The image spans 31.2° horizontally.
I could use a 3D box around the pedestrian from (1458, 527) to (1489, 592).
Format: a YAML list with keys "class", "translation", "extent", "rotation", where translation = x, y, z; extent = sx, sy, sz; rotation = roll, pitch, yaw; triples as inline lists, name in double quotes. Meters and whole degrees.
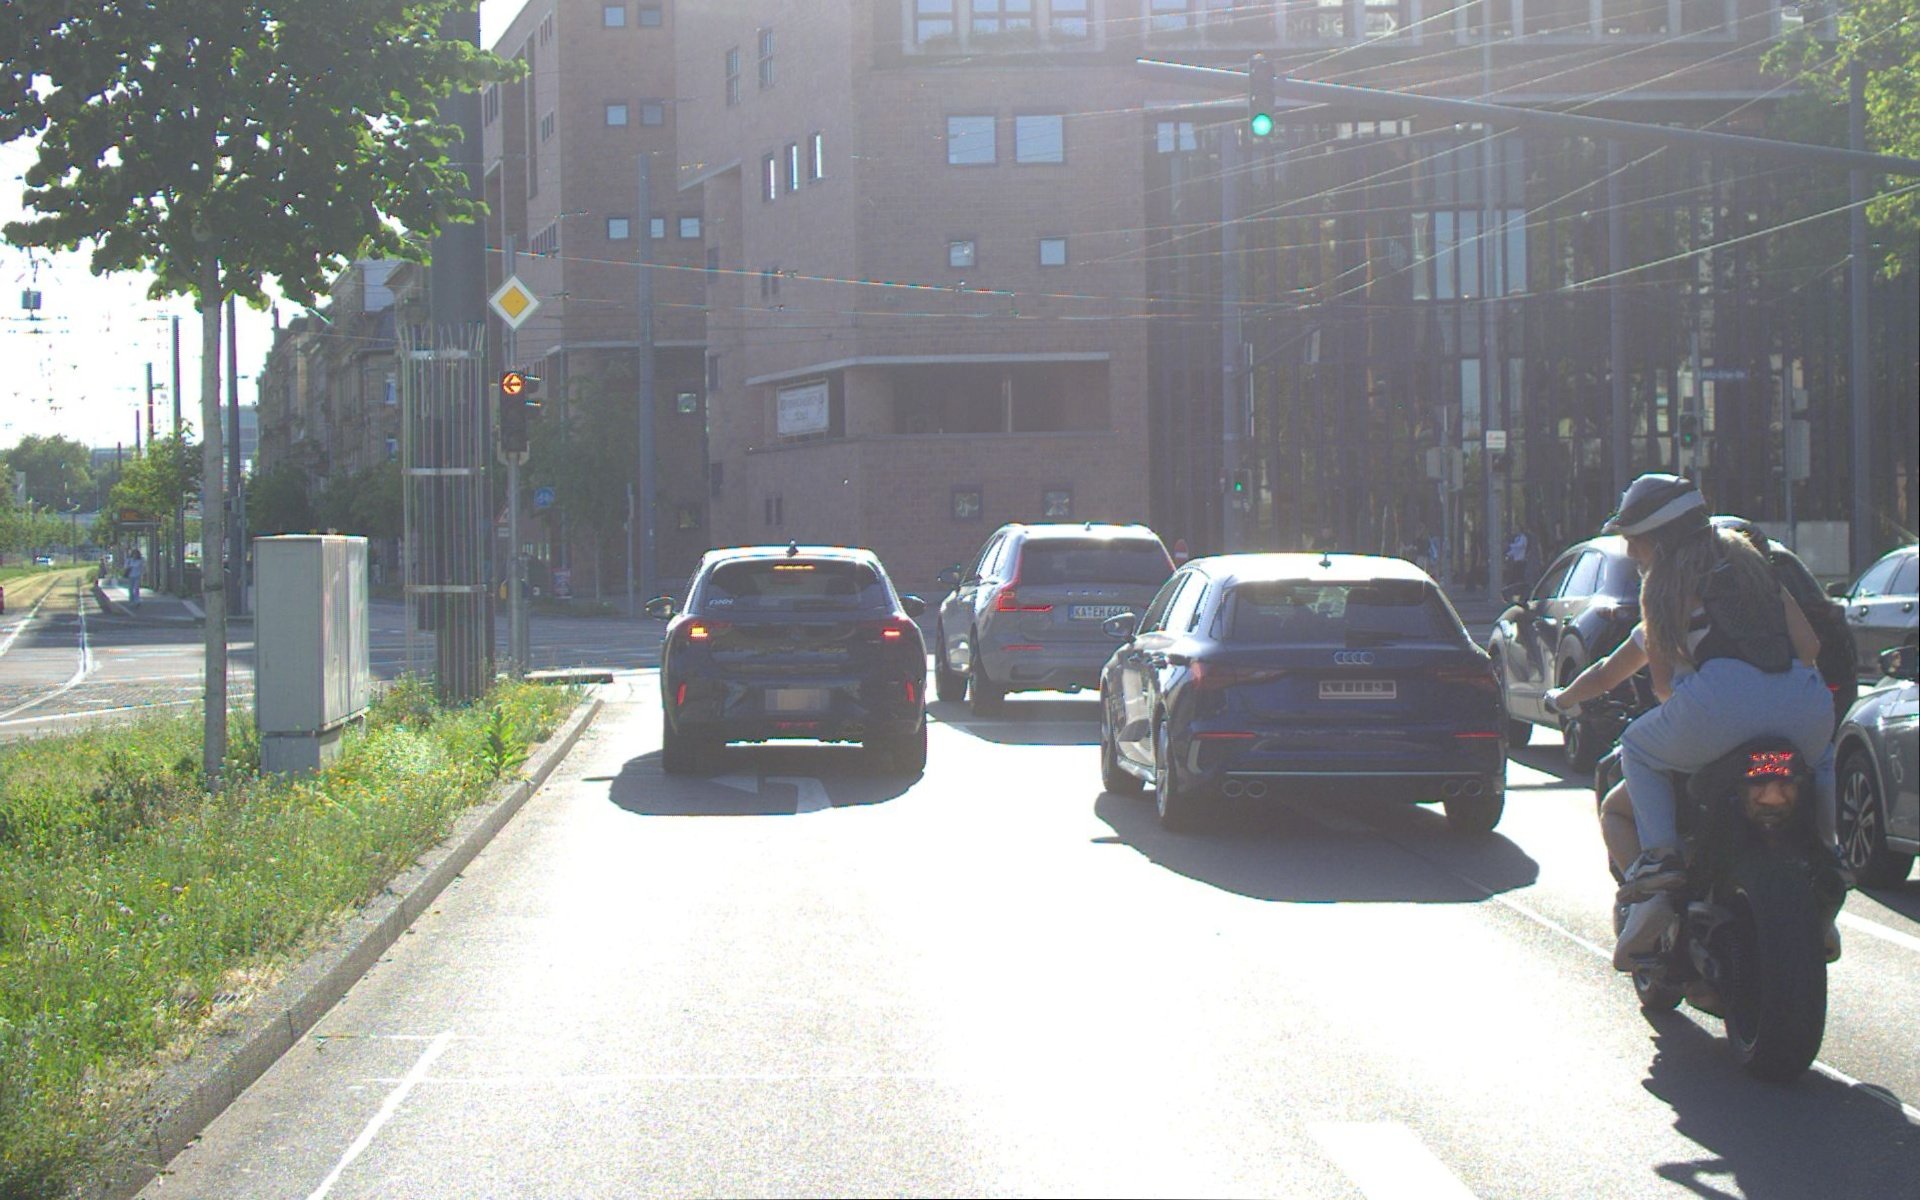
- class: "pedestrian"
  translation: [12.846, -1.006, 85.996]
  extent: [0.738, 1.611, 0.560]
  rotation: [-1, 1, 6]

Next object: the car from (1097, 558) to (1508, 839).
- class: "car"
  translation: [1.768, 0.461, 18.908]
  extent: [1.737, 1.345, 4.000]
  rotation: [-1, 1, -2]

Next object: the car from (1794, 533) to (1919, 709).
- class: "car"
  translation: [8.869, 0.155, 30.531]
  extent: [1.993, 1.415, 4.000]
  rotation: [1, 2, 1]

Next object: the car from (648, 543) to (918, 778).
- class: "car"
  translation: [-1.152, 0.342, 23.249]
  extent: [1.649, 1.428, 4.000]
  rotation: [-1, 1, -2]

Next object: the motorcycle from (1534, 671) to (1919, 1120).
- class: "motorcycle"
  translation: [2.256, 0.812, 10.182]
  extent: [0.775, 1.111, 1.969]
  rotation: [-1, 1, 0]

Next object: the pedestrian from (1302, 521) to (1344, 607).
- class: "pedestrian"
  translation: [7.452, -0.736, 70.624]
  extent: [0.707, 1.753, 0.560]
  rotation: [-1, 1, 23]

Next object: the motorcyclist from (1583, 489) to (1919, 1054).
- class: "motorcyclist"
  translation: [2.247, 0.457, 9.839]
  extent: [0.745, 1.525, 1.021]
  rotation: [-1, 1, 1]

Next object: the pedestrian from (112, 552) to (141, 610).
- class: "pedestrian"
  translation: [-23.556, -0.538, 97.118]
  extent: [0.742, 1.634, 0.768]
  rotation: [-1, 1, -16]

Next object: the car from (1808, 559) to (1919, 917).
- class: "car"
  translation: [4.847, 0.580, 13.743]
  extent: [1.807, 1.452, 4.000]
  rotation: [0, 1, -2]

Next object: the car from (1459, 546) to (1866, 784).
- class: "car"
  translation: [4.627, 0.370, 23.212]
  extent: [1.807, 1.452, 4.000]
  rotation: [0, 1, -2]

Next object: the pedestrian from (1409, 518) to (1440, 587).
- class: "pedestrian"
  translation: [9.753, -1.004, 72.156]
  extent: [0.529, 1.425, 0.598]
  rotation: [-1, 1, -3]

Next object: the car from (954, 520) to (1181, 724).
- class: "car"
  translation: [0.876, 0.147, 30.174]
  extent: [1.737, 1.645, 4.000]
  rotation: [-1, 1, -2]

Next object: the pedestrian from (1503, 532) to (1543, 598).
- class: "pedestrian"
  translation: [13.807, -0.861, 84.293]
  extent: [0.900, 1.611, 0.560]
  rotation: [-1, 1, 6]

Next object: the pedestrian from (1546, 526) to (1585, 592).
- class: "pedestrian"
  translation: [15.043, -1.021, 85.450]
  extent: [0.900, 1.611, 0.560]
  rotation: [-1, 1, 6]
